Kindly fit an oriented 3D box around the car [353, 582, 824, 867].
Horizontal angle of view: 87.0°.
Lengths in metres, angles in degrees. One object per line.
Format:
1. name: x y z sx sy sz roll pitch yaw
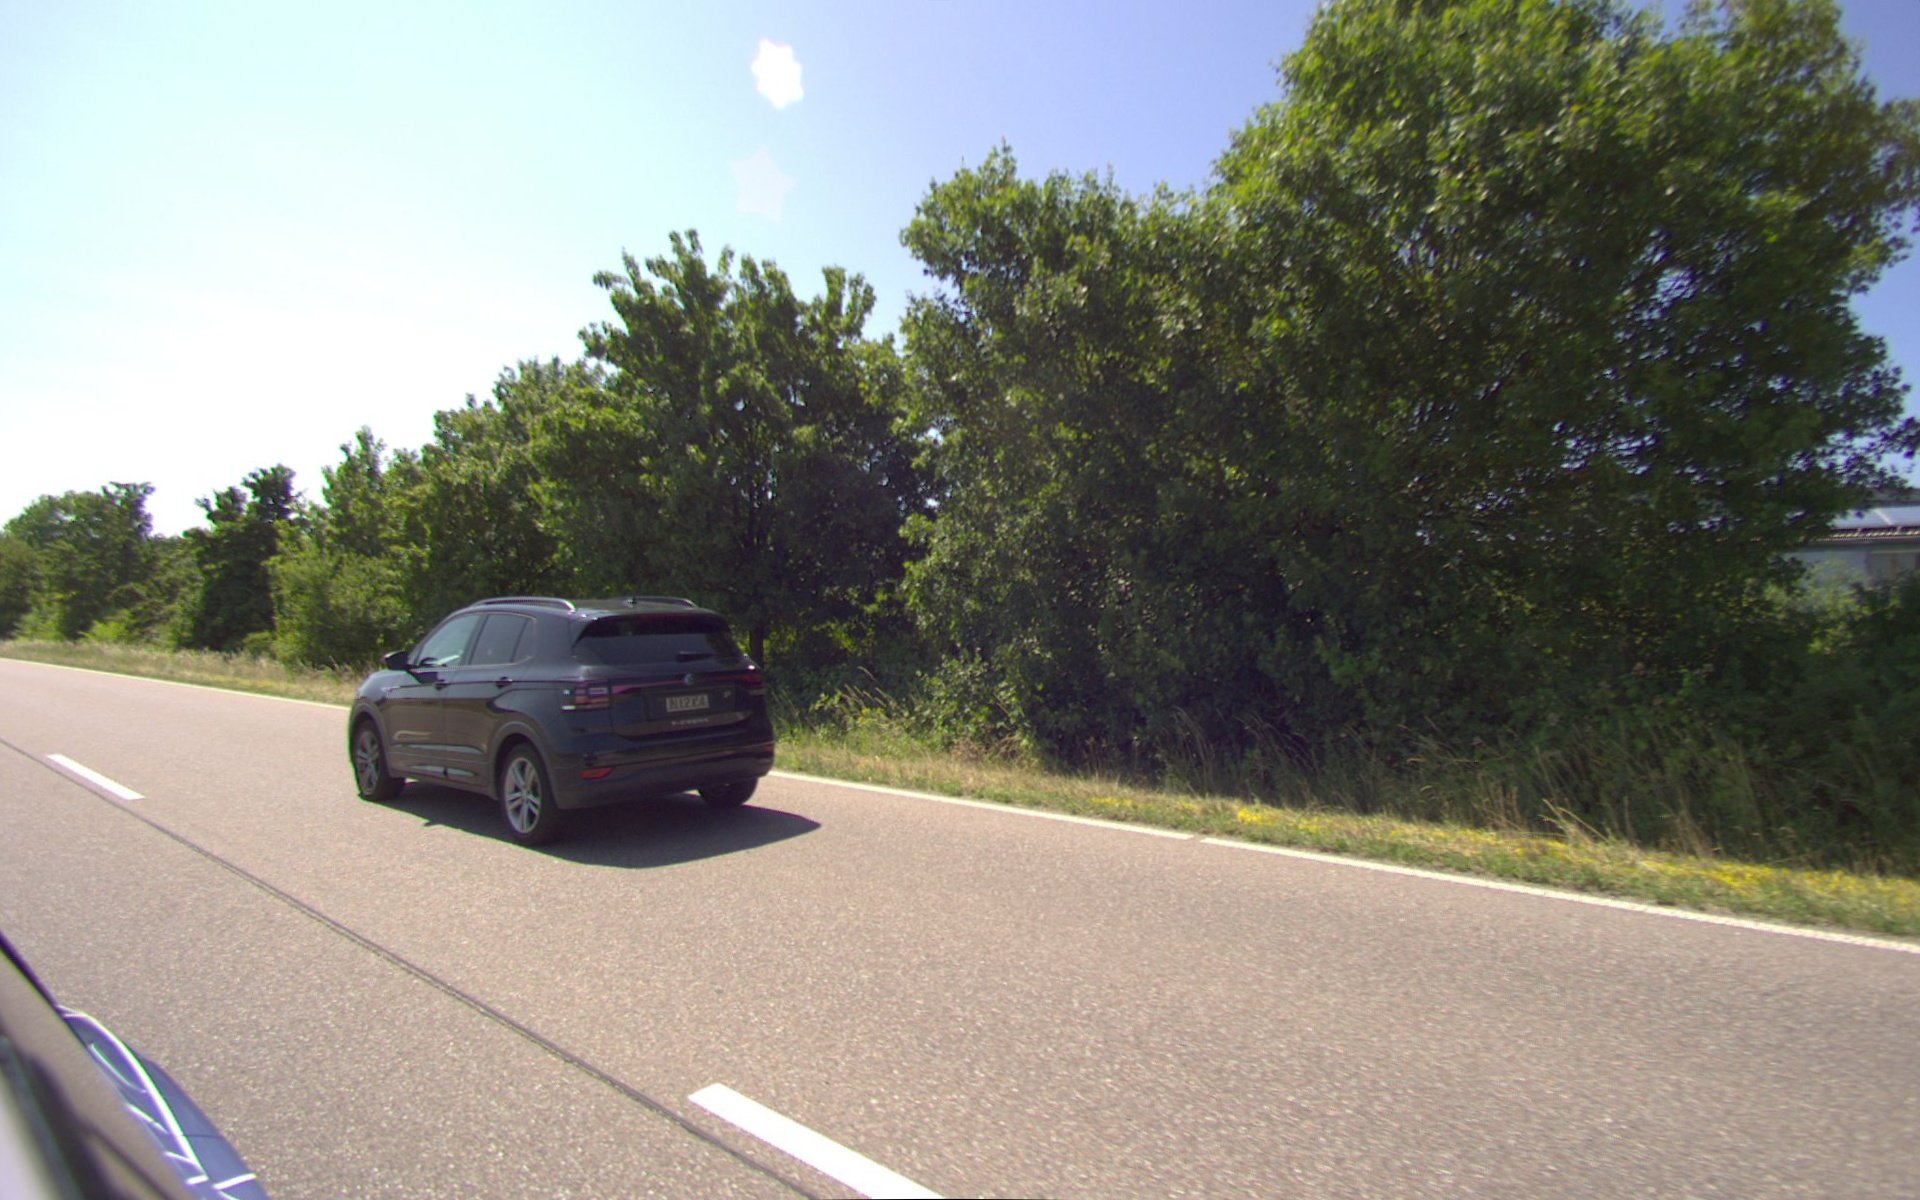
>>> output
1. car: -2.865 0.725 7.447 3.669 1.578 1.681 -1 -1 41
